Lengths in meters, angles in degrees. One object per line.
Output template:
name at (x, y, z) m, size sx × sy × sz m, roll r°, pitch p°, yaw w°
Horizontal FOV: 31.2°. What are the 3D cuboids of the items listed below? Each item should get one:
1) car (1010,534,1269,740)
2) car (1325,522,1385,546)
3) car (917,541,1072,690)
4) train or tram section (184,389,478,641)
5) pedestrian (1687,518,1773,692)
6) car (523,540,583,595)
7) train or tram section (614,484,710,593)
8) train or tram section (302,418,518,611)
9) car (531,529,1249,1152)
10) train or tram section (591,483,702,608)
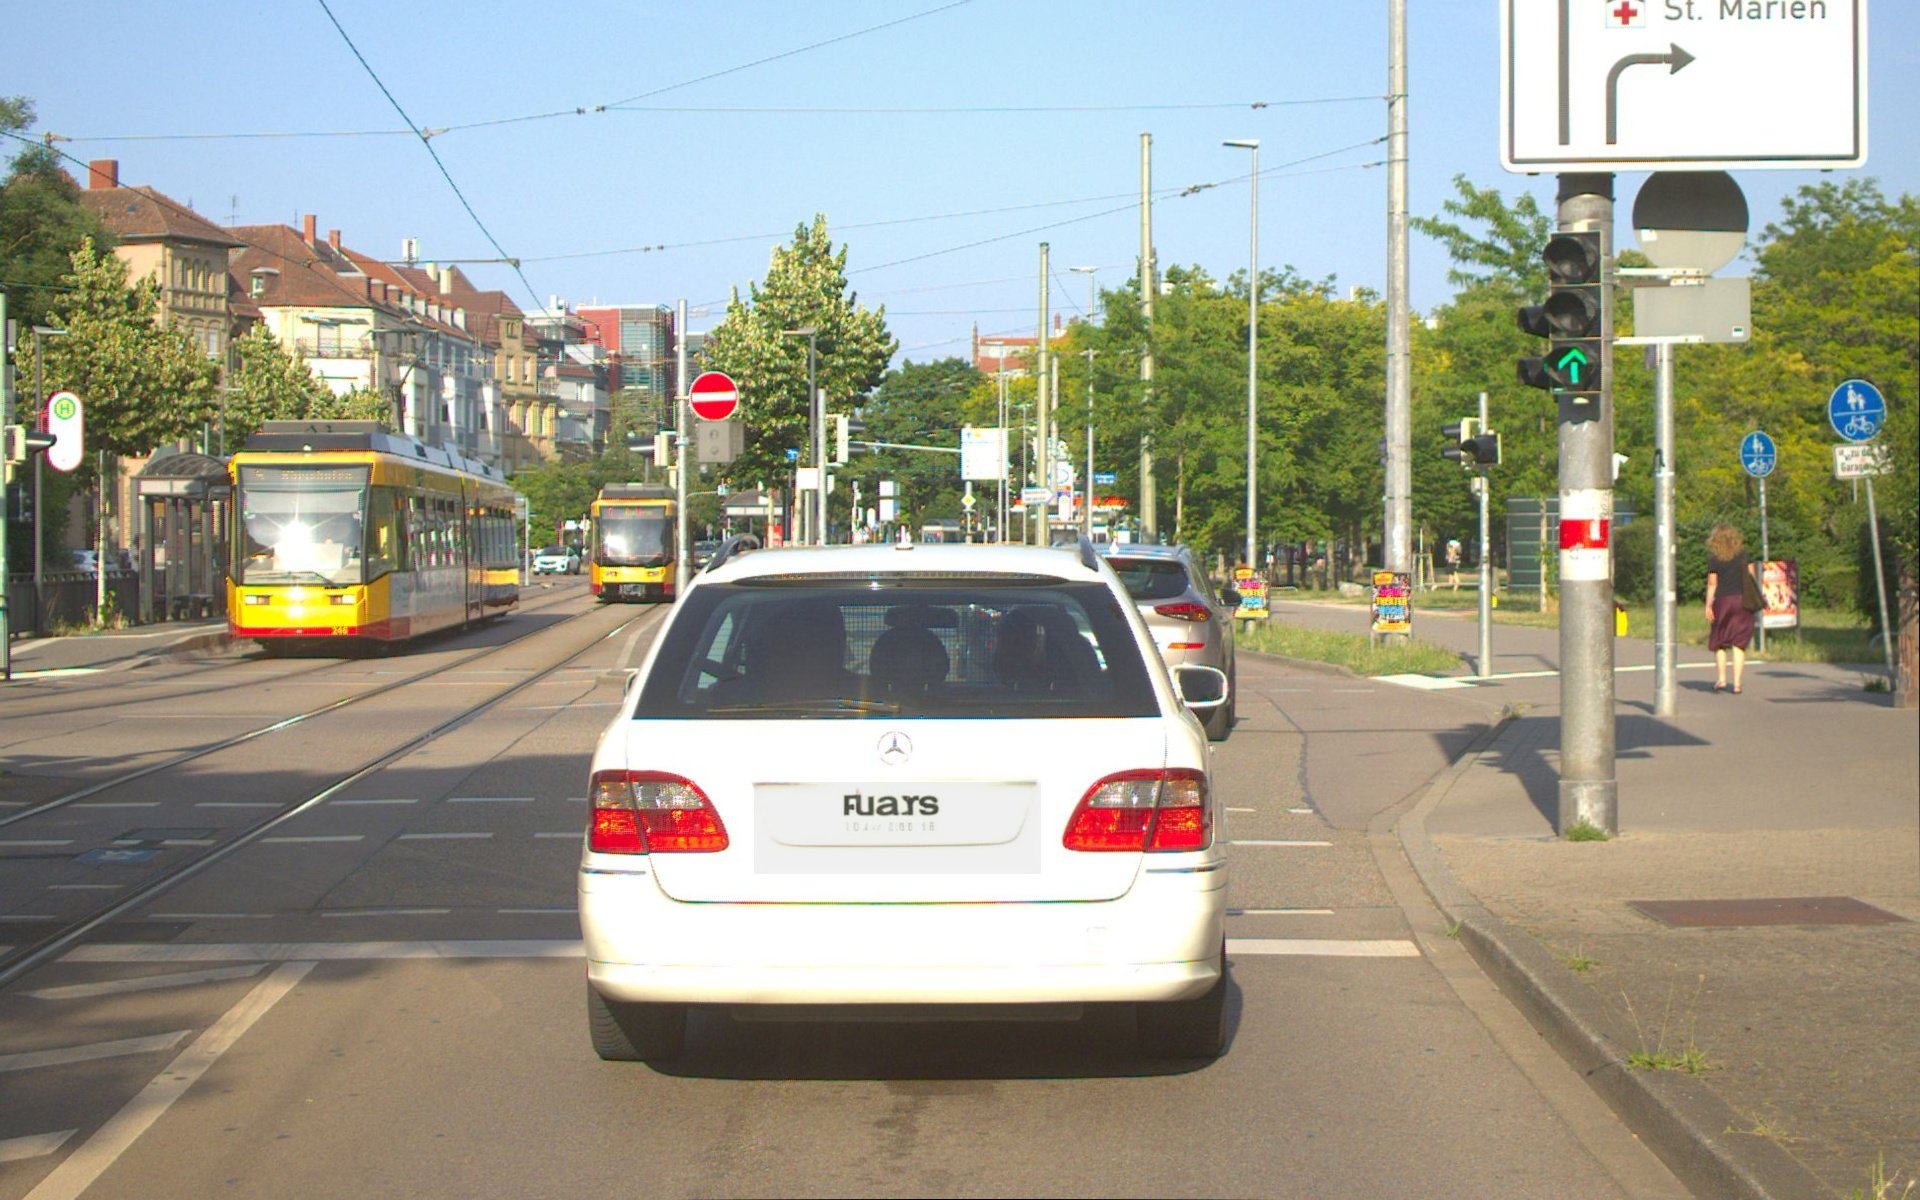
car at (1.465, 0.255, 29.477) m, size 2.033 × 1.600 × 4.000 m, roll 1°, pitch 1°, yaw 1°
car at (27.482, -4.584, 239.044) m, size 3.989 × 1.645 × 1.999 m, roll 0°, pitch 1°, yaw 11°
car at (0.433, 0.143, 42.004) m, size 1.787 × 1.684 × 4.000 m, roll 1°, pitch 1°, yaw 1°
train or tram section at (-9.777, -1.360, 55.133) m, size 3.161 × 3.467 × 14.536 m, roll 1°, pitch 1°, yaw -5°
pedestrian at (7.704, 0.045, 34.398) m, size 0.615 × 1.686 × 0.548 m, roll -5°, pitch 1°, yaw 1°
car at (-21.344, -1.739, 180.542) m, size 2.596 × 2.725 × 7.469 m, roll 1°, pitch 1°, yaw -3°
train or tram section at (-10.030, -2.146, 116.835) m, size 2.849 × 3.467 × 13.202 m, roll 1°, pitch 1°, yaw -3°
train or tram section at (-10.899, -1.726, 69.586) m, size 3.161 × 3.467 × 14.475 m, roll 1°, pitch 1°, yaw -5°
car at (-0.215, 0.557, 10.558) m, size 1.758 × 1.498 × 4.000 m, roll -1°, pitch 1°, yaw -1°
train or tram section at (-9.363, -1.728, 103.857) m, size 2.849 × 3.467 × 13.202 m, roll 1°, pitch 2°, yaw -3°
